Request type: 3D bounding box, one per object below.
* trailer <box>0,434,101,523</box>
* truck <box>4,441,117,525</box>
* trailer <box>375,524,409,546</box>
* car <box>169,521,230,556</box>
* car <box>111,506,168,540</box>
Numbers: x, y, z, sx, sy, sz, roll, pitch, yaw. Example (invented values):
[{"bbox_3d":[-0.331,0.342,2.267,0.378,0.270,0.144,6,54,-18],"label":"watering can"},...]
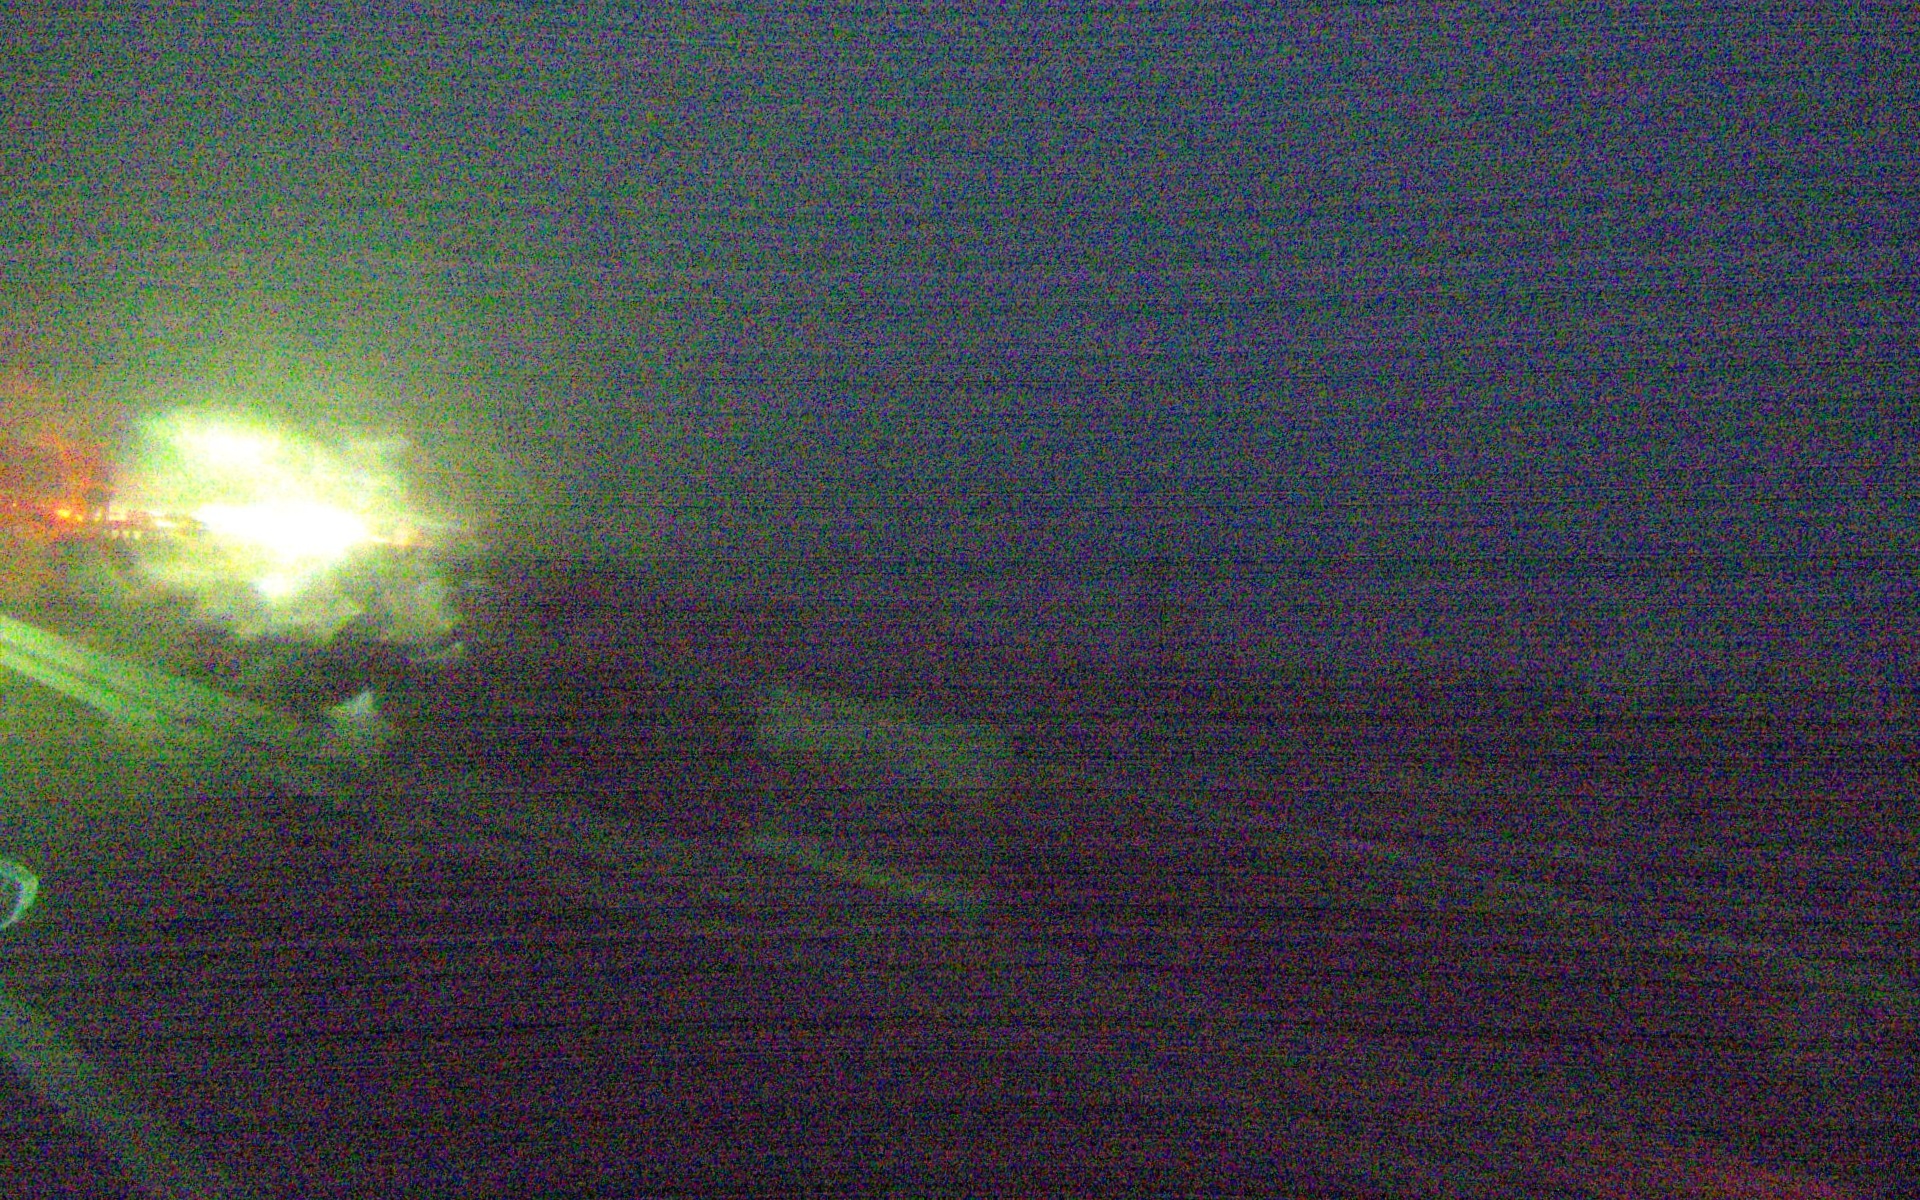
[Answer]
[{"bbox_3d":[-48.547,-6.344,51.132,2.566,3.767,13.589,9,-2,-21],"label":"trailer"},{"bbox_3d":[-50.774,-6.496,56.956,2.562,3.753,5.433,9,-2,-21],"label":"truck"},{"bbox_3d":[-93.122,-10.572,165.146,2.660,2.730,12.800,9,-2,-20],"label":"trailer"},{"bbox_3d":[-50.333,-4.063,66.687,1.974,1.839,3.982,9,-2,-21],"label":"car"},{"bbox_3d":[-63.065,-5.870,77.401,1.973,2.036,3.983,9,-2,-20],"label":"car"}]
